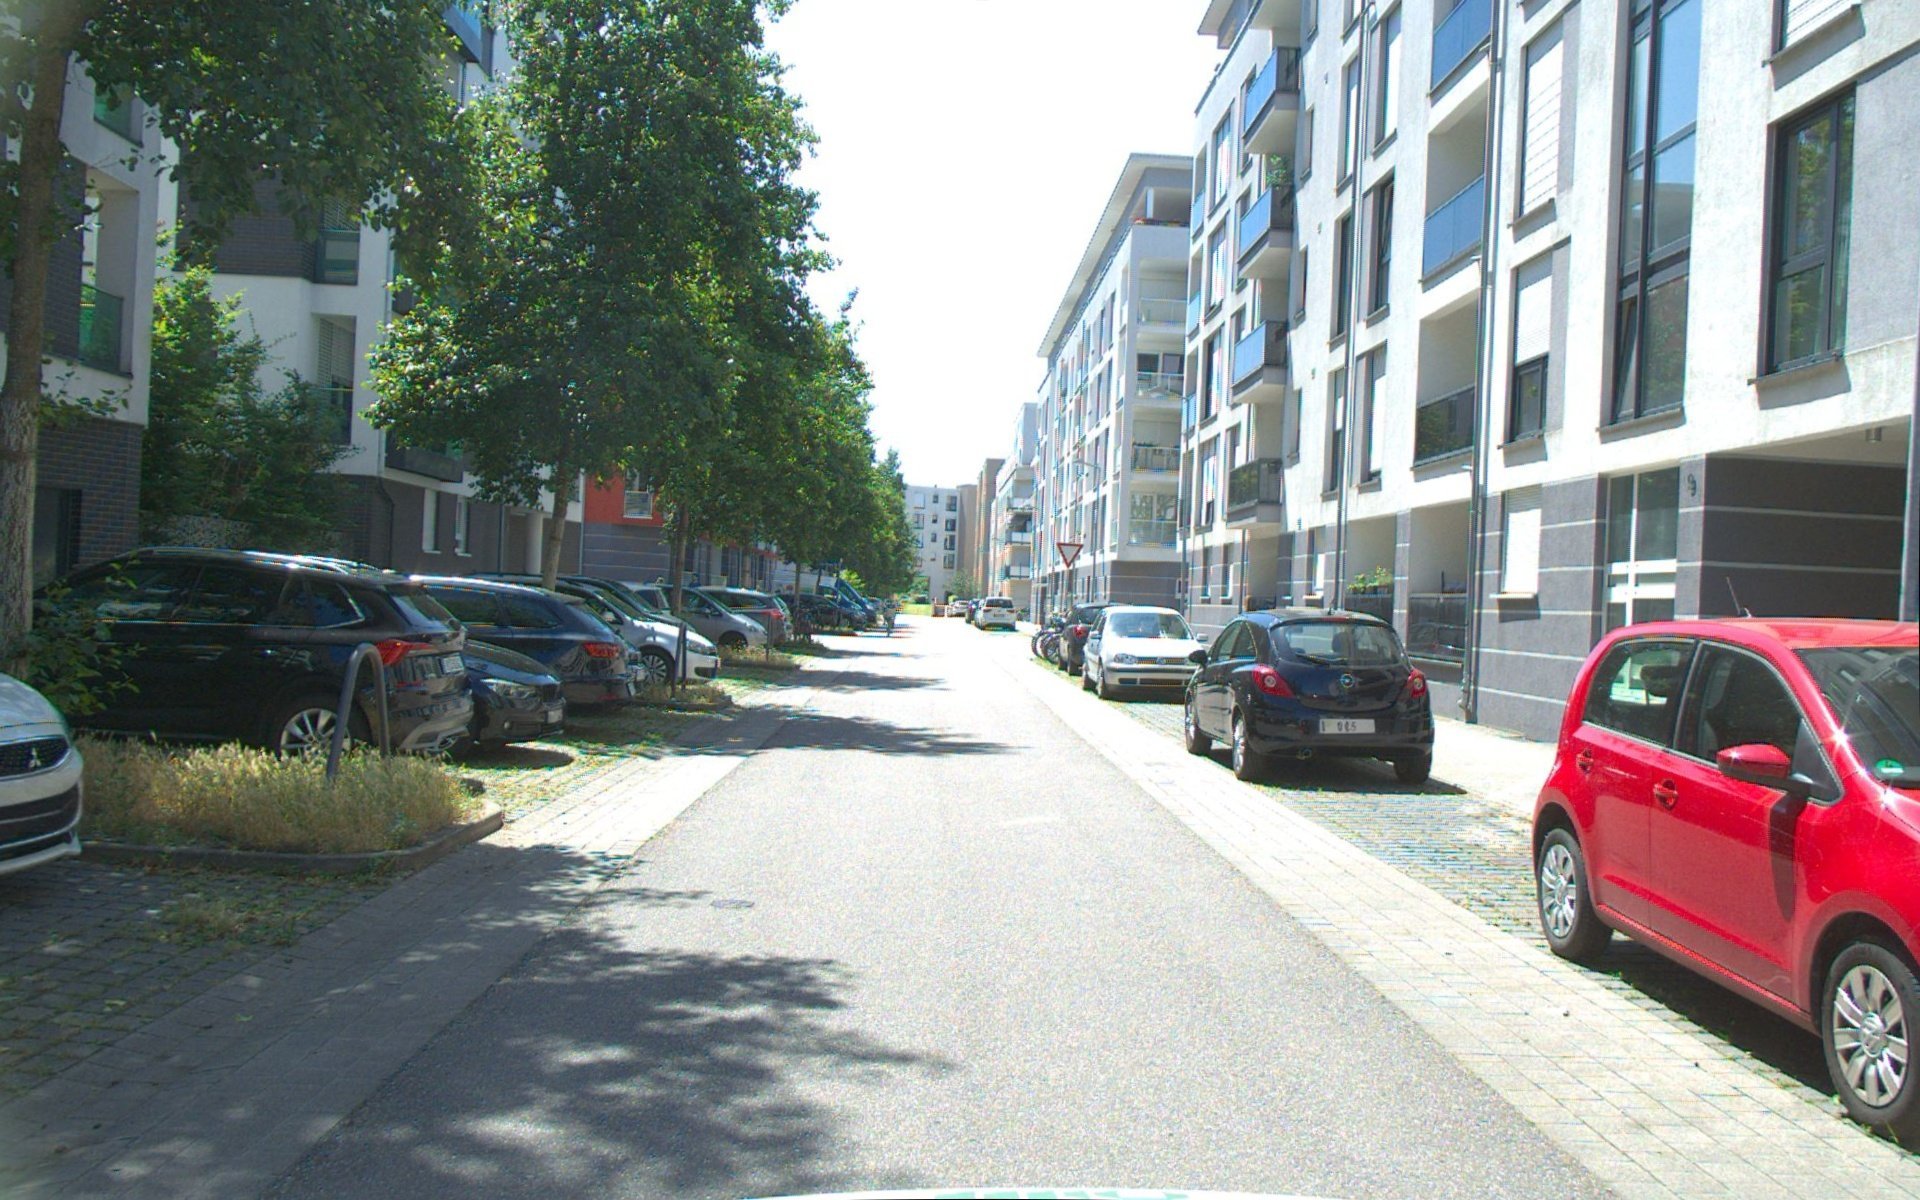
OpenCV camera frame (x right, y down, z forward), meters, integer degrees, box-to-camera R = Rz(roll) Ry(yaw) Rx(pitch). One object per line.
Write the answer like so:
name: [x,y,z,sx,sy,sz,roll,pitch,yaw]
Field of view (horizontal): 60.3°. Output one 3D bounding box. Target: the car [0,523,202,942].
car: [-5.621,0.376,6.935,3.907,1.619,1.883,4,0,-1]

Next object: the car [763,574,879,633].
car: [-7.346,0.187,88.130,5.902,2.865,2.604,2,0,-2]

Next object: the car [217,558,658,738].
car: [-5.198,0.474,16.910,3.898,1.470,1.773,4,-1,-5]

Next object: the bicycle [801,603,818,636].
bicycle: [-5.952,0.759,65.429,0.425,1.224,1.699,4,1,-1]

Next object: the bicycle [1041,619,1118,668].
bicycle: [2.877,1.042,39.917,1.751,1.123,0.746,2,0,-5]

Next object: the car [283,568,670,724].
car: [-5.579,0.513,19.495,3.906,1.447,1.897,4,0,-1]

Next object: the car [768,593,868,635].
car: [-6.456,0.645,75.533,4.295,1.541,2.074,5,0,-2]

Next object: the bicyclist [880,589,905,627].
bicyclist: [-2.718,0.308,66.299,0.934,1.485,0.799,2,0,-2]

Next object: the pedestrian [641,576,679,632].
pedestrian: [-9.545,0.137,52.681,0.980,1.720,0.832,2,0,-1]

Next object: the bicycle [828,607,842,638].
bicycle: [-4.957,0.891,65.668,0.456,1.161,1.925,2,0,-3]

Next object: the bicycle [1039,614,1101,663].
bicycle: [2.895,1.006,43.510,1.520,1.239,0.707,2,-1,-3]

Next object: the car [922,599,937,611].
car: [-4.343,0.677,234.874,1.954,1.545,3.998,3,0,-2]

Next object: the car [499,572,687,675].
car: [-6.474,0.405,29.428,2.875,1.526,1.847,5,0,-3]

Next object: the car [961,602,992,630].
car: [1.046,0.996,103.035,1.721,1.579,4.001,3,0,2]

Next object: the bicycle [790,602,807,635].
bicycle: [-6.412,0.728,65.670,0.508,1.224,1.751,4,1,-3]

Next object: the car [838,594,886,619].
car: [-8.701,0.546,146.938,3.903,2.049,2.001,3,0,5]

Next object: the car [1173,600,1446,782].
car: [3.180,0.761,15.825,1.609,1.488,4.116,1,0,-2]

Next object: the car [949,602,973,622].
car: [0.039,1.107,151.565,1.954,1.704,3.998,3,0,-3]

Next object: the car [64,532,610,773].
car: [-5.256,0.429,14.381,3.906,1.679,1.918,4,0,0]

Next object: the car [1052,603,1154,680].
car: [3.014,0.845,35.529,1.703,1.511,4.228,2,0,-1]

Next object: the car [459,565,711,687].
car: [-5.913,0.408,26.440,3.638,1.613,1.818,4,-1,-7]

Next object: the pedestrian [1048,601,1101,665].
pedestrian: [2.868,0.821,41.401,1.157,1.541,0.686,2,0,-11]

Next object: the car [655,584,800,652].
car: [-6.193,0.477,44.414,3.557,1.547,1.831,4,0,-2]

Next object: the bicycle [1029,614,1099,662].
bicycle: [2.772,1.014,44.217,1.821,1.214,0.687,1,-1,1]

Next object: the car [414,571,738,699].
car: [-5.469,0.492,24.036,4.274,1.740,1.998,1,0,-4]

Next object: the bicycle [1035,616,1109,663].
bicycle: [2.838,1.001,41.856,1.807,1.168,0.458,2,-1,-21]

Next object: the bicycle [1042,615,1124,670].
bicycle: [2.905,1.007,39.171,1.833,1.239,0.715,2,-1,-5]

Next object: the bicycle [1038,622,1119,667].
bicycle: [2.910,1.092,40.611,1.886,1.053,0.559,2,-1,-5]

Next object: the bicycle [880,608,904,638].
bicycle: [-2.726,0.907,66.378,0.880,1.149,2.039,2,0,-2]

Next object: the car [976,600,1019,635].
car: [1.851,0.857,82.945,1.957,1.686,4.114,2,0,-1]

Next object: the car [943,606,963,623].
car: [-0.738,1.583,178.772,1.954,1.747,3.998,3,0,-2]

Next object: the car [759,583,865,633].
car: [-7.357,0.378,82.697,5.042,2.156,2.311,4,0,-2]

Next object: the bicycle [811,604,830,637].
bicycle: [-5.529,0.810,65.434,0.560,1.194,1.765,5,1,-8]

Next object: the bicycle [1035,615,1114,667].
bicycle: [2.863,1.017,41.273,1.888,1.239,0.459,2,-1,-11]

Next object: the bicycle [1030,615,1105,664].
bicycle: [2.782,1.014,42.825,1.882,1.200,0.639,1,-1,8]

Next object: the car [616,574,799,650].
car: [-5.974,0.299,39.507,4.099,1.512,1.957,4,-2,-5]

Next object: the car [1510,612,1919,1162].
car: [3.444,0.824,6.061,1.563,1.512,3.675,1,0,-1]

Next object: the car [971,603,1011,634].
car: [1.640,0.984,88.641,1.953,1.551,3.999,2,0,-1]

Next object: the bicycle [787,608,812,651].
bicycle: [-4.552,0.822,46.946,0.426,1.147,1.972,2,0,-13]

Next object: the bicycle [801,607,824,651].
bicycle: [-4.198,0.808,46.983,0.364,1.201,1.815,2,0,-13]

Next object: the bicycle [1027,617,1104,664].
bicycle: [2.698,1.024,42.218,1.882,1.153,0.609,1,-1,8]

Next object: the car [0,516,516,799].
car: [-5.439,0.348,11.851,3.907,1.657,1.932,4,0,-2]

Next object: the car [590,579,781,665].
car: [-6.012,0.467,36.604,3.859,1.580,1.871,4,0,-2]

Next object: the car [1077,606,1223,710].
car: [3.027,0.883,27.210,1.797,1.531,4.349,1,0,-1]

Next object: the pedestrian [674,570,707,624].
pedestrian: [-10.359,-0.114,63.576,0.988,2.049,1.129,2,0,2]
